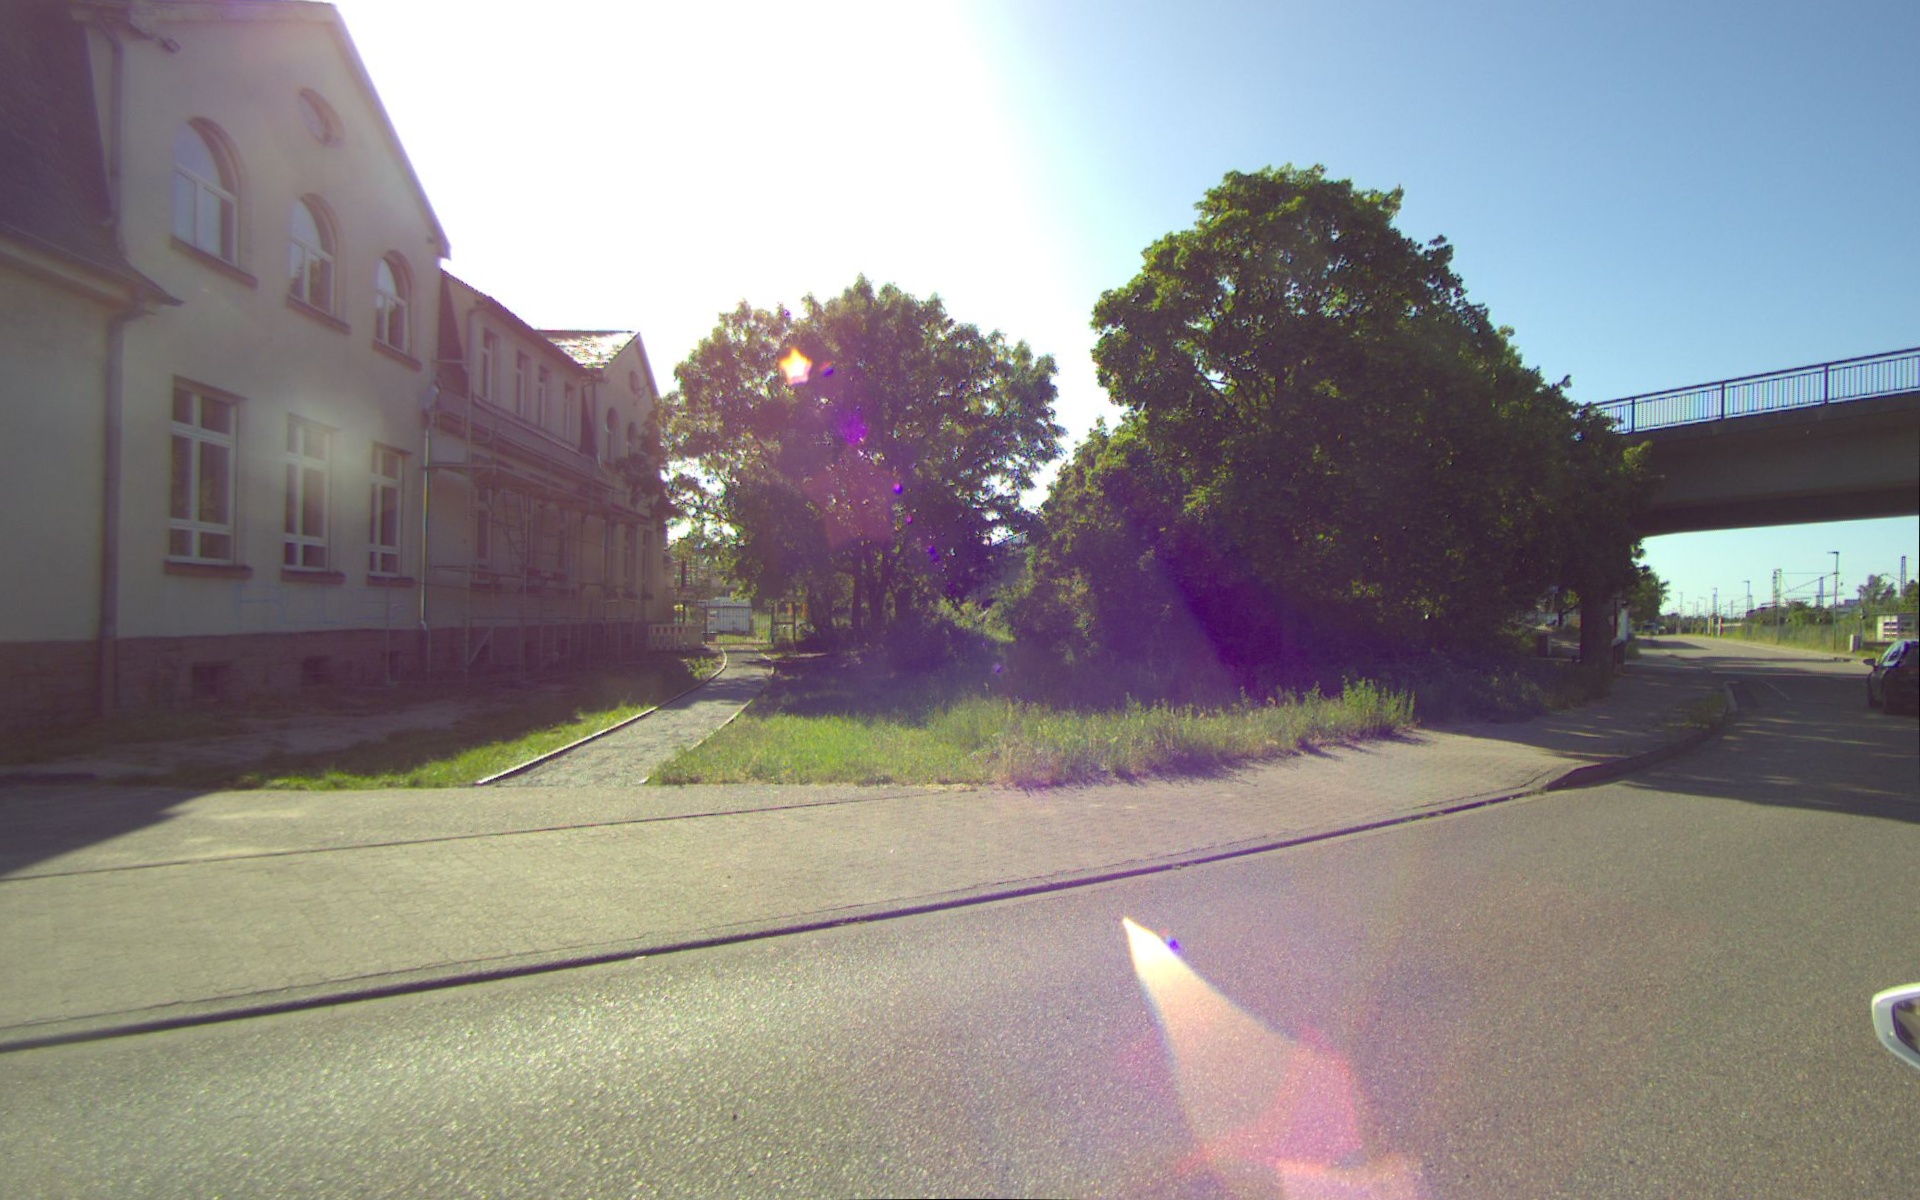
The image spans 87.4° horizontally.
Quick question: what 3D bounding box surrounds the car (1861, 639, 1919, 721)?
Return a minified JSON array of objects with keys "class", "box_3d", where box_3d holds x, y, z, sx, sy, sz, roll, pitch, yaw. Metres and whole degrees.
[{"class":"car","box_3d":[19.539,1.552,20.126,1.918,1.508,4.546,0,-2,38]}]
